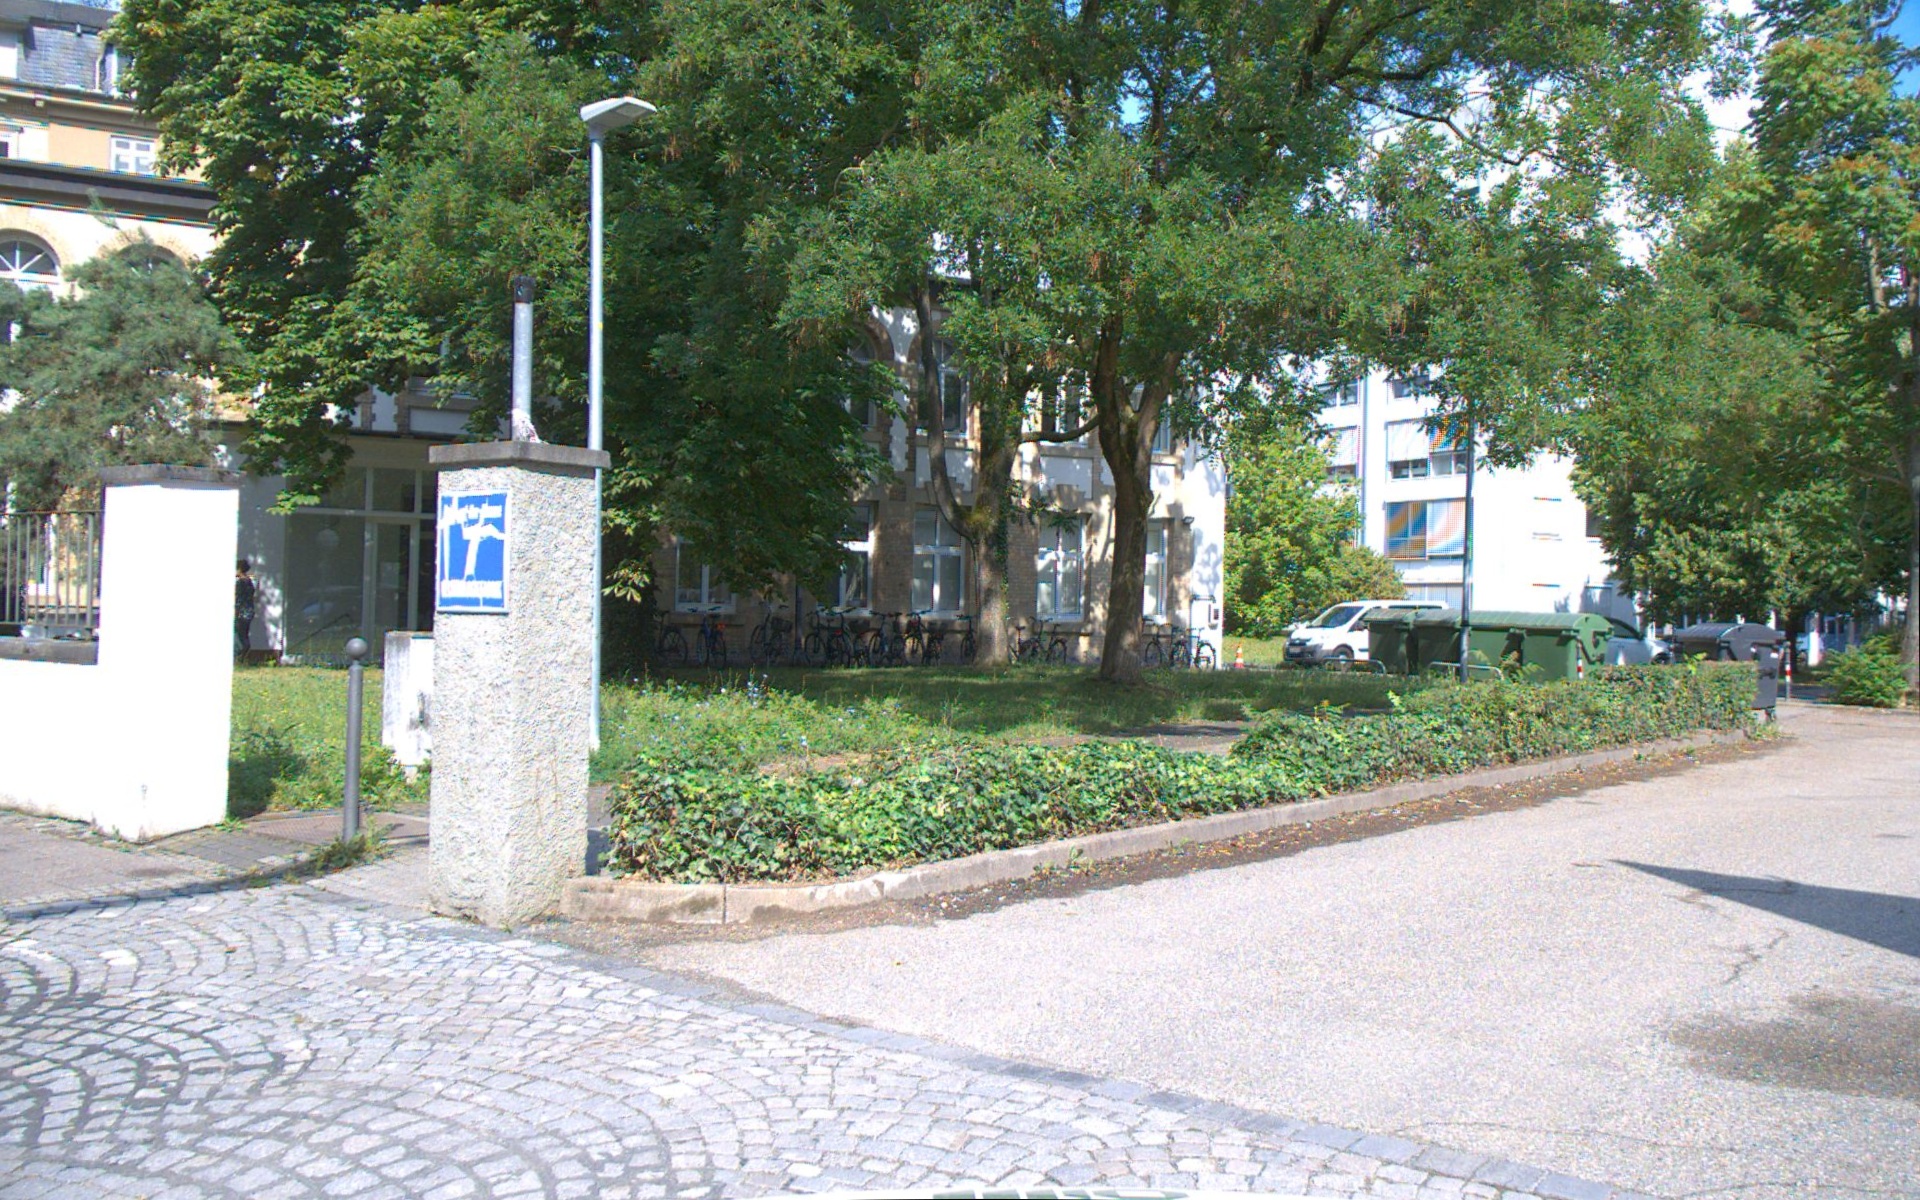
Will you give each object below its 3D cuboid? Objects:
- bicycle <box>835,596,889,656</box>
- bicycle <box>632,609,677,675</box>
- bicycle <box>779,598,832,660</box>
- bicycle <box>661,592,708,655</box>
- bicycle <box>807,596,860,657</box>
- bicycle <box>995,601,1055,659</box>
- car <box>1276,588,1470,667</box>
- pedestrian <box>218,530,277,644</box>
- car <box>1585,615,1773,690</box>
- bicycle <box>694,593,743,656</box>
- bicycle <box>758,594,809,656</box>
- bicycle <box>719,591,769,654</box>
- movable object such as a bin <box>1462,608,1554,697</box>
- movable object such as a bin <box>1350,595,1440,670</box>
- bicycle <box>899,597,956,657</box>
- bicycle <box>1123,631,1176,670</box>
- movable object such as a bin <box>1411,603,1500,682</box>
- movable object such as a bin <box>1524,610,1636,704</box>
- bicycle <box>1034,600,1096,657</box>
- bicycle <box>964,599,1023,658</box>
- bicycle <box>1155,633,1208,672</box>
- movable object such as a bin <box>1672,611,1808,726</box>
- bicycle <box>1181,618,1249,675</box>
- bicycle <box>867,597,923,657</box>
[{"bbox_3d":[-1.911,0.487,31.871,0.412,1.074,2.054,-2,2,-21],"label":"bicycle"},{"bbox_3d":[-5.533,0.738,29.915,0.412,1.074,2.054,-2,2,-21],"label":"bicycle"},{"bbox_3d":[-2.910,0.528,31.016,0.412,1.074,2.054,-2,2,-21],"label":"bicycle"},{"bbox_3d":[-5.064,0.414,30.342,0.412,1.074,2.054,-2,2,-21],"label":"bicycle"},{"bbox_3d":[-2.422,0.487,31.590,0.412,1.074,2.054,-2,2,-21],"label":"bicycle"},{"bbox_3d":[1.286,0.586,33.094,0.412,1.075,2.054,1,1,-21],"label":"bicycle"},{"bbox_3d":[11.163,0.721,44.672,4.874,1.999,1.985,-1,-1,-24],"label":"car"},{"bbox_3d":[-10.939,-0.196,25.393,0.761,1.707,0.802,1,0,-26],"label":"pedestrian"},{"bbox_3d":[15.869,1.116,36.497,3.856,1.445,1.744,-2,1,-26],"label":"car"},{"bbox_3d":[-4.429,0.428,30.292,0.412,1.074,2.054,-2,2,-21],"label":"bicycle"},{"bbox_3d":[-3.313,0.453,30.889,0.412,1.074,2.054,-2,2,-21],"label":"bicycle"},{"bbox_3d":[-3.996,0.401,30.481,0.412,1.074,2.054,-2,2,-21],"label":"bicycle"},{"bbox_3d":[9.521,0.903,28.773,0.868,1.477,1.221,1,0,-31],"label":"movable object such as a bin"},{"bbox_3d":[8.226,0.606,31.331,0.934,1.372,1.367,1,0,-31],"label":"movable object such as a bin"},{"bbox_3d":[-0.654,0.514,32.254,0.412,1.074,2.054,-2,2,-21],"label":"bicycle"},{"bbox_3d":[3.898,1.035,34.162,0.314,0.718,1.850,1,1,-18],"label":"bicycle"},{"bbox_3d":[9.016,0.766,30.101,0.934,1.372,1.221,1,0,-31],"label":"movable object such as a bin"},{"bbox_3d":[10.285,0.923,27.467,1.088,1.477,1.329,1,0,-31],"label":"movable object such as a bin"},{"bbox_3d":[2.104,0.561,33.338,0.412,1.075,2.054,1,1,-21],"label":"bicycle"},{"bbox_3d":[0.645,0.546,32.620,0.412,1.074,2.054,-2,2,-21],"label":"bicycle"},{"bbox_3d":[4.596,1.073,34.407,0.314,0.718,1.850,1,1,-18],"label":"bicycle"},{"bbox_3d":[11.335,0.975,24.089,1.221,1.507,1.295,2,3,-5],"label":"movable object such as a bin"},{"bbox_3d":[5.338,0.960,34.757,0.412,1.074,2.054,-2,2,-21],"label":"bicycle"},{"bbox_3d":[-1.276,0.500,31.879,0.412,1.074,2.054,-2,2,-21],"label":"bicycle"}]
